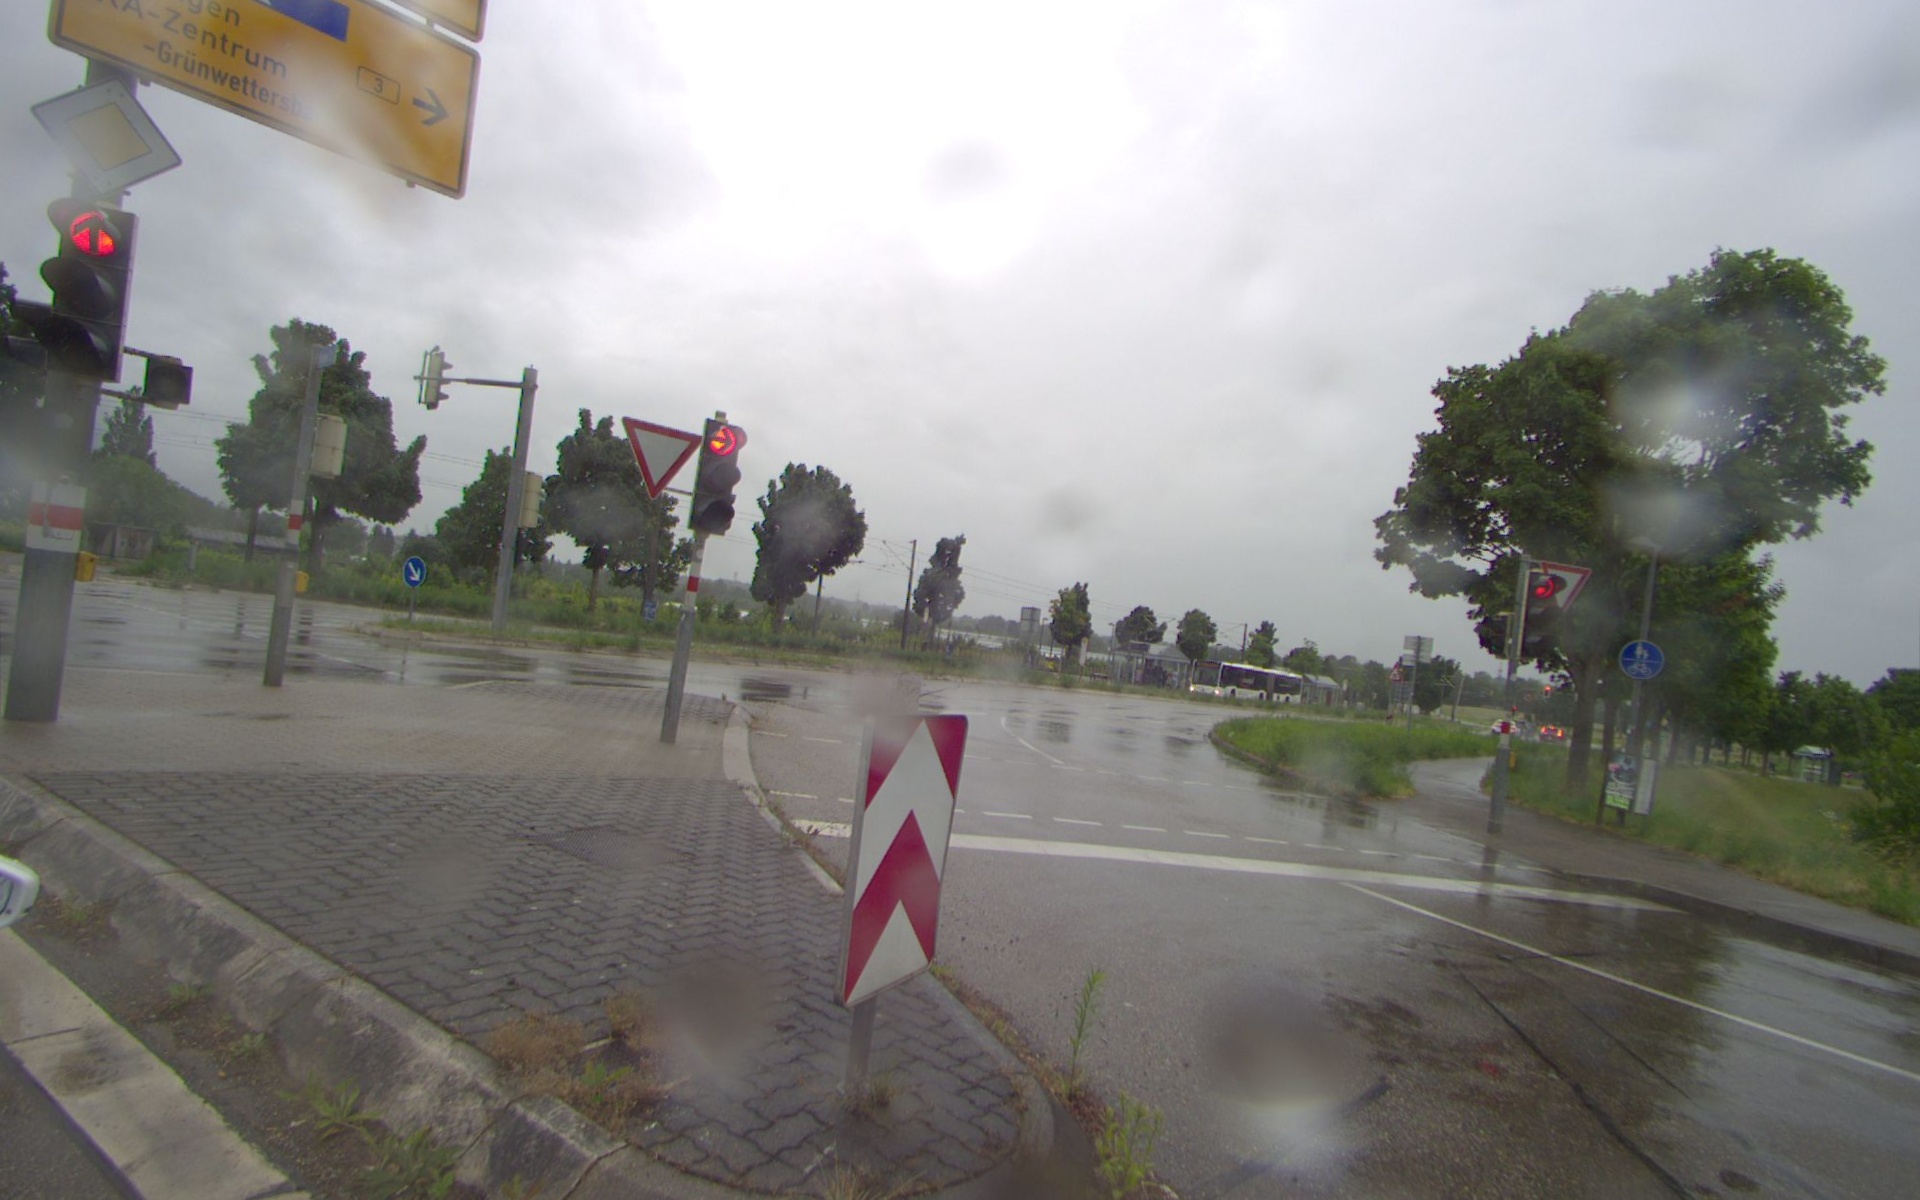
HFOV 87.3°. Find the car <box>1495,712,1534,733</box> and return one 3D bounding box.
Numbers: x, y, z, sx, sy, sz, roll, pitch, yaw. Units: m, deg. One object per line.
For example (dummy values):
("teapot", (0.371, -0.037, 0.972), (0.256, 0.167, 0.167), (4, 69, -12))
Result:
("car", (43.228, 9.560, 78.372), (1.853, 1.370, 4.036), (6, -2, 40))

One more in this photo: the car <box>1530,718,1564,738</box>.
("car", (51.546, 11.230, 88.306), (1.853, 1.370, 4.036), (6, -2, 40))

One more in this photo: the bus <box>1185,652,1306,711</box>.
("bus", (24.325, 7.034, 84.334), (2.715, 3.828, 18.378), (7, -2, 38))
